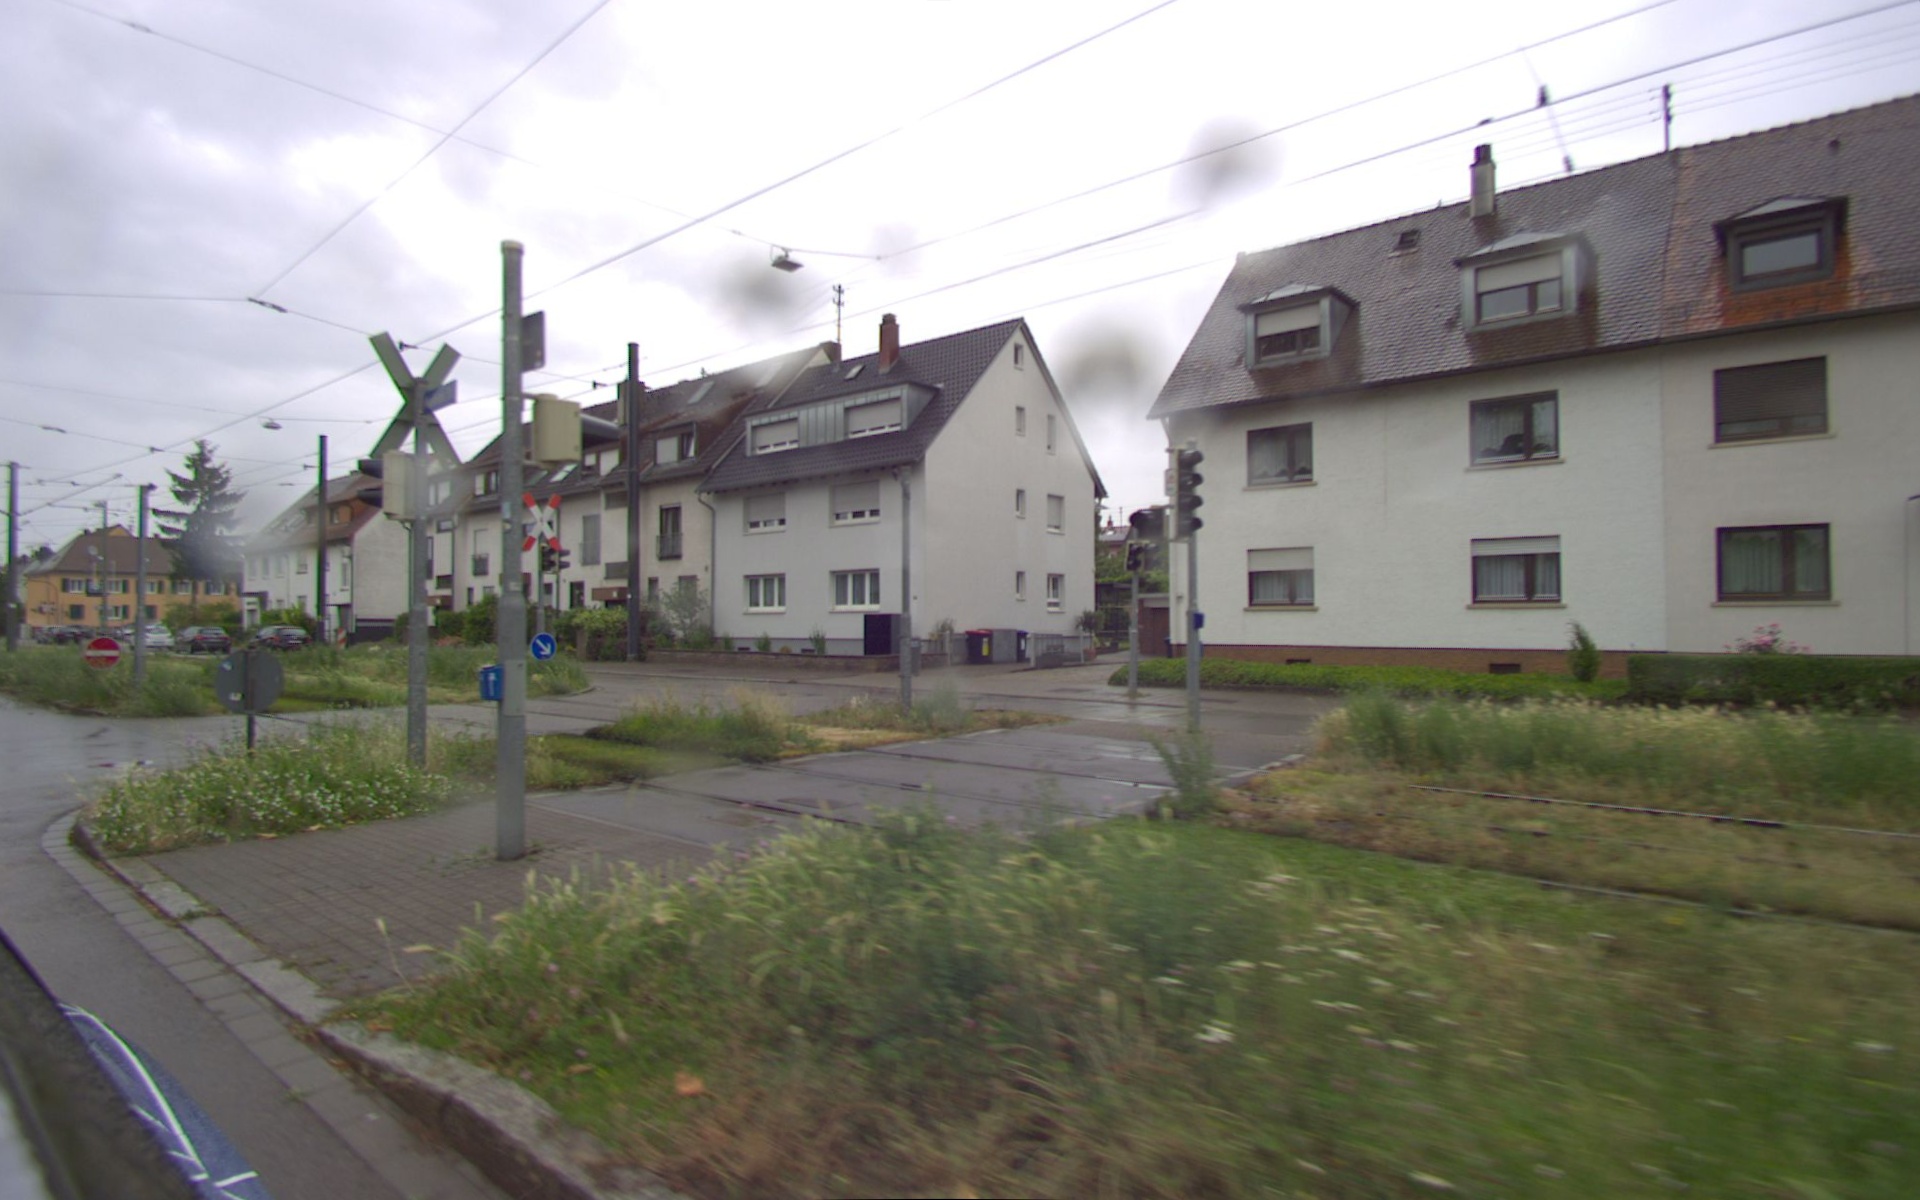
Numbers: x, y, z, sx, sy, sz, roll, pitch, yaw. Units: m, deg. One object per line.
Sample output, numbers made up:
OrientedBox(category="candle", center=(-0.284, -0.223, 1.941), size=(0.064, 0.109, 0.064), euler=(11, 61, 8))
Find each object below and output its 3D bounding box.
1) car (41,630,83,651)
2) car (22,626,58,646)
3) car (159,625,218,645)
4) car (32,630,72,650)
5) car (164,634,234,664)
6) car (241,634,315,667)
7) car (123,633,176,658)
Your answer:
OrientedBox(category="car", center=(-70.532, 3.134, 79.503), size=(3.997, 1.602, 1.888), euler=(-2, -3, 40))
OrientedBox(category="car", center=(-80.611, 3.137, 88.623), size=(3.999, 1.670, 1.972), euler=(-1, -1, 42))
OrientedBox(category="car", center=(-67.293, 3.063, 88.265), size=(3.939, 1.607, 1.915), euler=(0, -1, -43))
OrientedBox(category="car", center=(-74.079, 3.256, 82.552), size=(3.997, 1.541, 1.858), euler=(-2, -3, 40))
OrientedBox(category="car", center=(-40.907, 2.613, 54.349), size=(4.751, 1.543, 1.868), euler=(-2, -3, 39))
OrientedBox(category="car", center=(-31.180, 2.279, 46.231), size=(3.934, 1.437, 1.754), euler=(-2, -3, 40))
OrientedBox(category="car", center=(-49.385, 2.739, 61.629), size=(3.995, 1.451, 1.694), euler=(-2, -3, 39))
